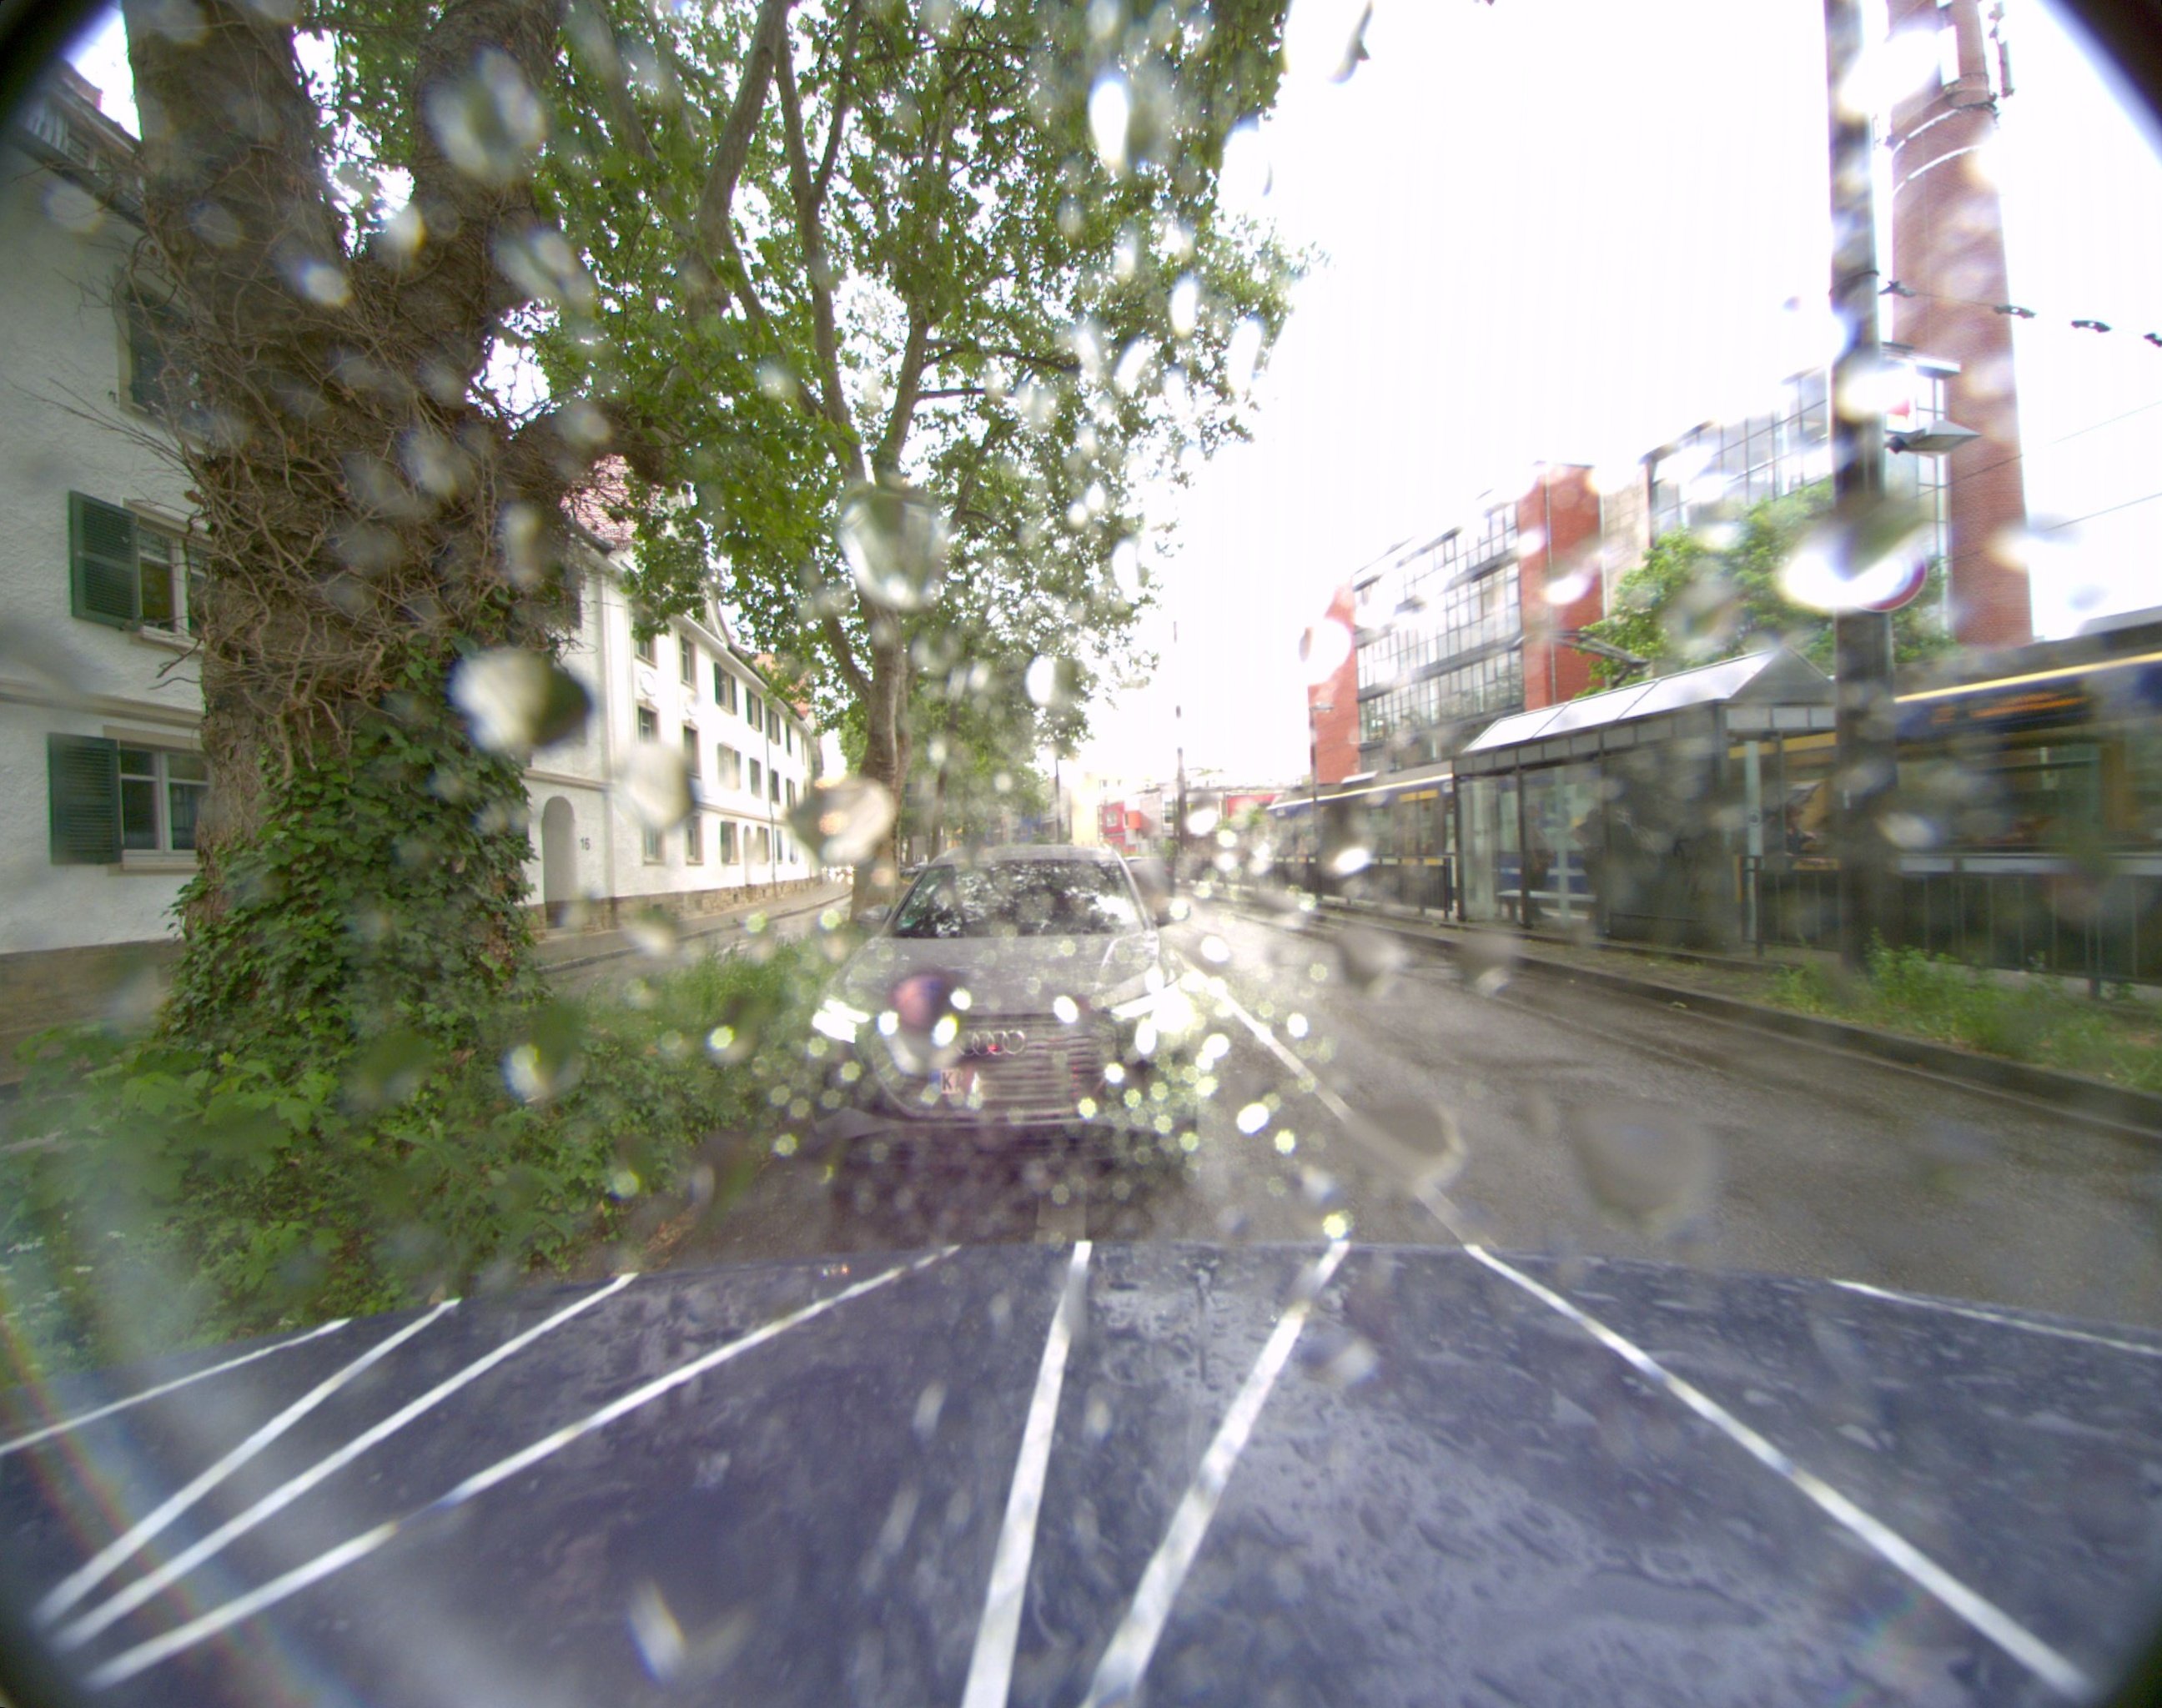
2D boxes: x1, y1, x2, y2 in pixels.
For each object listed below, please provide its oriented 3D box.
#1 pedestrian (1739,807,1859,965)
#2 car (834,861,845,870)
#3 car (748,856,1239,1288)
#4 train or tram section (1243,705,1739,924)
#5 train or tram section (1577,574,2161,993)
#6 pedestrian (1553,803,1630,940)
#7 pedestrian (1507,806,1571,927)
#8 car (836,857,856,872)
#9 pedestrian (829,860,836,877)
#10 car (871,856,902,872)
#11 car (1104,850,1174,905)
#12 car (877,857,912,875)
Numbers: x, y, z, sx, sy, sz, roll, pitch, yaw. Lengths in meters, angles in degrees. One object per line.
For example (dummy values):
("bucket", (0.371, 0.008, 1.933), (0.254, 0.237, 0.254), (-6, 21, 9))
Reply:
("pedestrian", (7.505, 0.330, 7.953), (0.798, 1.588, 0.506), (0, -2, -10))
("car", (-44.184, 2.164, 138.860), (1.834, 1.517, 3.993), (-2, 1, -19))
("car", (-0.407, 0.881, 5.128), (1.917, 1.632, 4.106), (-2, 0, -2))
("train or tram section", (8.470, -0.677, 20.133), (2.869, 3.525, 15.361), (-2, 0, -8))
("train or tram section", (10.659, -0.642, 5.849), (2.869, 3.525, 13.704), (-2, 0, -9))
("pedestrian", (6.739, 0.228, 10.054), (0.629, 1.738, 0.564), (-2, 1, 9))
("pedestrian", (6.790, 0.185, 11.278), (0.629, 1.738, 0.514), (-2, 1, 9))
("car", (-36.558, 1.666, 117.992), (2.199, 2.250, 5.401), (-3, 0, -24))
("pedestrian", (-28.135, 1.623, 86.167), (0.674, 1.811, 0.678), (-3, 1, -18))
("car", (-26.682, 1.404, 104.365), (4.002, 2.002, 1.997), (-2, 0, -17))
("car", (1.818, 0.705, 24.872), (1.756, 1.582, 4.234), (-3, 0, -2))
("car", (-23.218, 1.493, 94.663), (4.002, 2.002, 1.997), (-2, 0, -17))
